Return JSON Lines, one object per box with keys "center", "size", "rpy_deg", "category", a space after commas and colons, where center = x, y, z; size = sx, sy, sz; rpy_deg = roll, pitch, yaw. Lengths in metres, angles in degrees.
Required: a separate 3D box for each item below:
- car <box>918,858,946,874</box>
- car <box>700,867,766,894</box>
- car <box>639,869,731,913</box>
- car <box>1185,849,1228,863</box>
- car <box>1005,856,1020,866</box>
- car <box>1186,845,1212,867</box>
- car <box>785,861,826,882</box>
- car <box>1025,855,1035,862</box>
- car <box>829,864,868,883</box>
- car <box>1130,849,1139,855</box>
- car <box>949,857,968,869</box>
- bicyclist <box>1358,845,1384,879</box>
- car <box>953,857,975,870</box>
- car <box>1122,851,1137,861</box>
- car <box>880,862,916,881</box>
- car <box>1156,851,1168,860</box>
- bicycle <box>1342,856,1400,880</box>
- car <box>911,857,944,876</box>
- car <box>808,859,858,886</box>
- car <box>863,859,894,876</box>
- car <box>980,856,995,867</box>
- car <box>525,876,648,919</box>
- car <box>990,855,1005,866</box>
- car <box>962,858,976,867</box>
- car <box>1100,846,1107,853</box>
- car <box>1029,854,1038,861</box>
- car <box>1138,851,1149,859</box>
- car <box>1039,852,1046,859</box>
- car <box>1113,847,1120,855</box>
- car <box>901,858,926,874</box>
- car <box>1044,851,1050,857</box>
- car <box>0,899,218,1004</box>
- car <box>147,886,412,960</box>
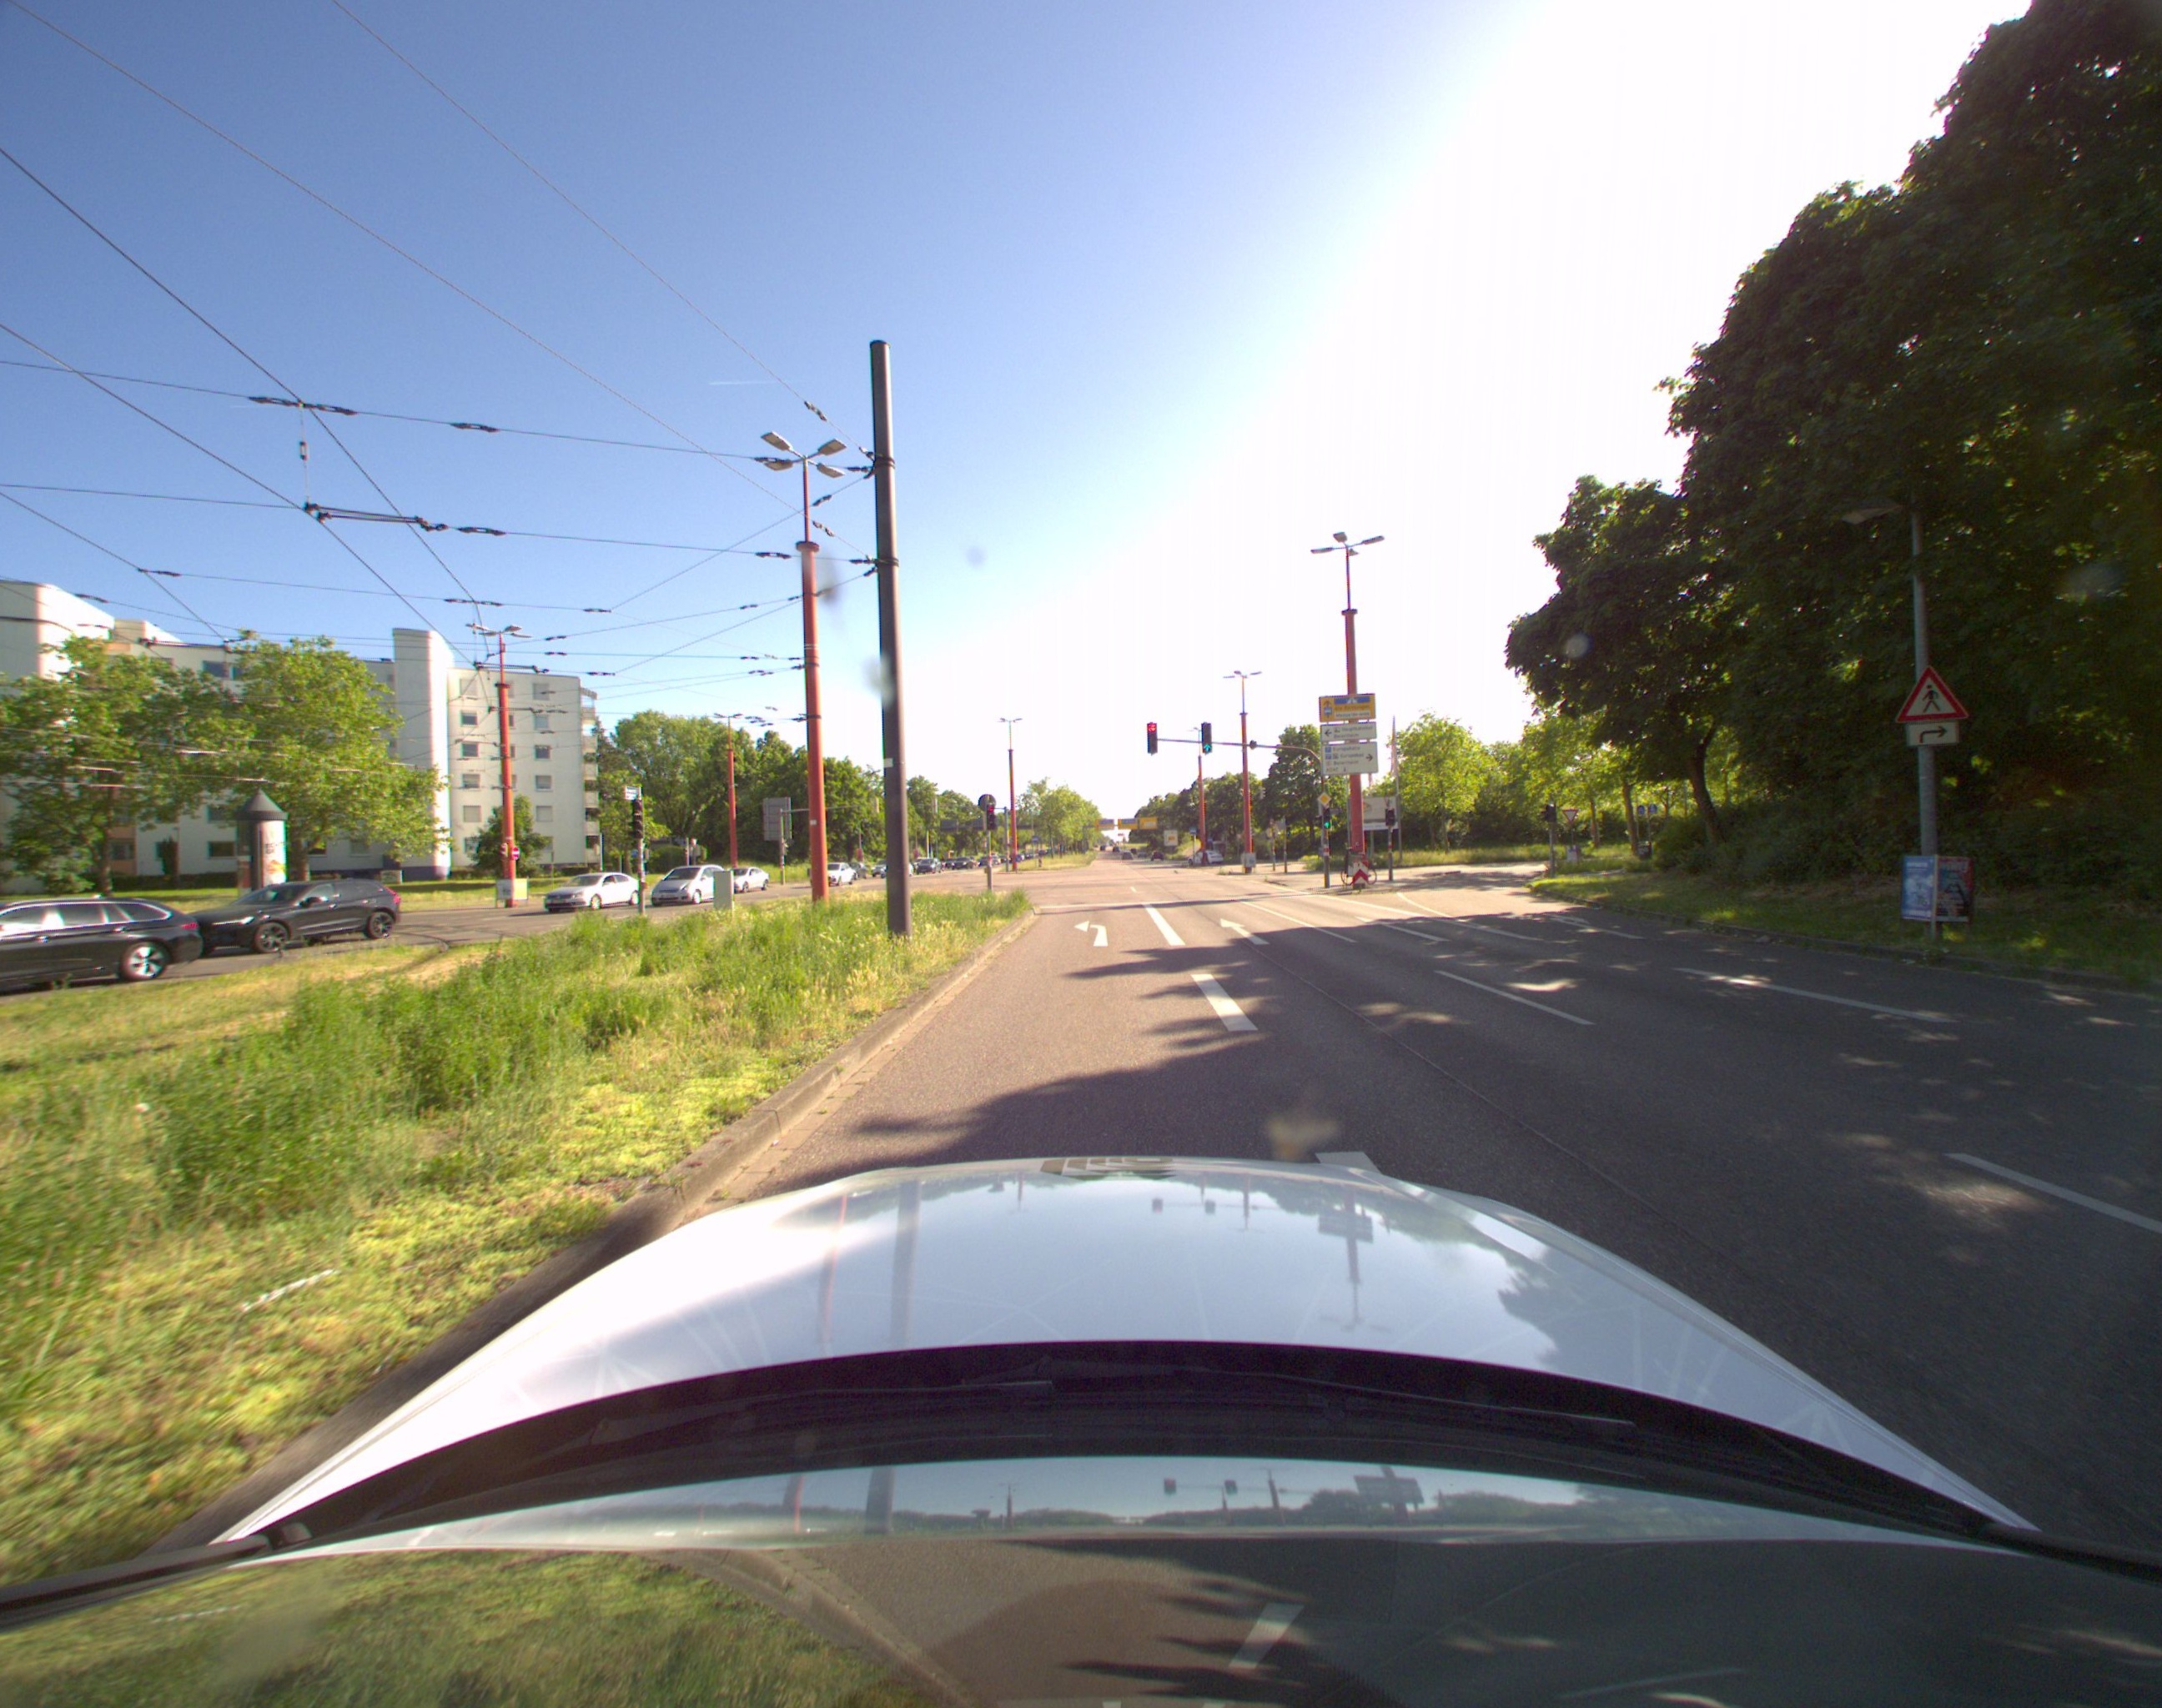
{"center": [-15.565, 1.246, 85.545], "size": [1.830, 1.601, 4.441], "rpy_deg": [-2, 0, 3], "category": "car"}
{"center": [-19.637, 1.444, 46.191], "size": [1.988, 1.374, 4.396], "rpy_deg": [-1, 0, -2], "category": "car"}
{"center": [-16.187, 1.479, 33.493], "size": [1.756, 1.608, 3.760], "rpy_deg": [-2, 0, 2], "category": "car"}
{"center": [12.889, 0.226, 83.734], "size": [2.068, 1.371, 4.348], "rpy_deg": [-2, 0, -31], "category": "car"}
{"center": [-10.449, 1.045, 124.194], "size": [1.694, 1.421, 4.002], "rpy_deg": [1, 0, 2], "category": "car"}
{"center": [10.698, 0.158, 73.666], "size": [1.980, 1.887, 4.013], "rpy_deg": [1, 1, 12], "category": "car"}
{"center": [-22.917, 1.441, 67.937], "size": [1.905, 1.623, 4.001], "rpy_deg": [-1, 0, 2], "category": "car"}
{"center": [-10.968, 0.923, 173.977], "size": [1.697, 1.558, 3.805], "rpy_deg": [-1, 0, 2], "category": "car"}
{"center": [-18.619, 1.523, 65.353], "size": [1.855, 1.341, 4.031], "rpy_deg": [-2, 0, 1], "category": "car"}
{"center": [13.968, -0.441, 213.154], "size": [1.986, 1.540, 4.002], "rpy_deg": [-2, 0, 2], "category": "car"}
{"center": [-16.233, 1.199, 108.408], "size": [1.870, 1.576, 3.999], "rpy_deg": [-1, 0, 0], "category": "car"}
{"center": [11.811, 0.320, 33.182], "size": [0.739, 1.341, 0.706], "rpy_deg": [-2, 0, -7], "category": "bicyclist"}
{"center": [-13.626, 1.059, 94.743], "size": [1.870, 1.485, 4.604], "rpy_deg": [-1, 0, 0], "category": "car"}
{"center": [7.977, 0.321, 135.158], "size": [1.989, 1.496, 3.996], "rpy_deg": [-2, 0, -3], "category": "car"}
{"center": [-14.997, 1.429, 66.930], "size": [1.697, 1.423, 4.644], "rpy_deg": [-3, 0, 1], "category": "car"}
{"center": [12.654, 0.247, 127.594], "size": [1.731, 1.341, 3.083], "rpy_deg": [-2, 0, 2], "category": "car"}
{"center": [11.803, 0.556, 33.179], "size": [2.157, 0.878, 0.559], "rpy_deg": [-3, 0, -4], "category": "bicycle"}
{"center": [-14.563, 1.177, 77.608], "size": [1.985, 1.594, 4.468], "rpy_deg": [-2, 0, 3], "category": "car"}
{"center": [-15.550, 1.149, 51.206], "size": [1.582, 1.472, 4.186], "rpy_deg": [-3, 0, 3], "category": "car"}
{"center": [-19.049, 1.270, 76.614], "size": [1.870, 1.576, 3.999], "rpy_deg": [-1, 0, 0], "category": "car"}
{"center": [-13.210, 1.024, 114.979], "size": [1.543, 1.377, 4.263], "rpy_deg": [-2, 0, 1], "category": "car"}
{"center": [-19.793, 1.687, 32.877], "size": [1.986, 1.432, 4.694], "rpy_deg": [-3, 0, 1], "category": "car"}
{"center": [-12.767, 0.982, 124.620], "size": [1.599, 1.459, 3.952], "rpy_deg": [-2, 0, 2], "category": "car"}
{"center": [-17.443, 1.304, 126.755], "size": [1.538, 1.433, 3.887], "rpy_deg": [-3, 0, 2], "category": "car"}
{"center": [7.252, -1.445, 259.994], "size": [1.987, 2.014, 3.999], "rpy_deg": [-1, 0, -1], "category": "car"}
{"center": [-10.755, 0.794, 184.499], "size": [1.998, 1.308, 3.998], "rpy_deg": [-2, 0, -1], "category": "car"}
{"center": [12.290, 0.192, 161.577], "size": [1.986, 1.540, 4.001], "rpy_deg": [-1, 0, 2], "category": "car"}
{"center": [-10.260, 0.472, 216.815], "size": [1.619, 1.739, 4.002], "rpy_deg": [-2, 0, 2], "category": "car"}
{"center": [10.272, -0.892, 235.723], "size": [2.146, 2.013, 4.001], "rpy_deg": [-2, 0, 2], "category": "car"}
{"center": [-18.934, 1.370, 92.258], "size": [1.794, 1.707, 4.061], "rpy_deg": [-2, 0, 2], "category": "car"}
{"center": [-9.923, 0.086, 237.814], "size": [1.650, 1.747, 4.003], "rpy_deg": [-1, 0, 3], "category": "car"}
{"center": [-17.069, 1.540, 12.579], "size": [1.985, 1.409, 4.994], "rpy_deg": [-1, 0, 3], "category": "car"}
{"center": [-19.928, 1.638, 20.618], "size": [1.985, 1.481, 4.634], "rpy_deg": [-1, 0, 2], "category": "car"}
